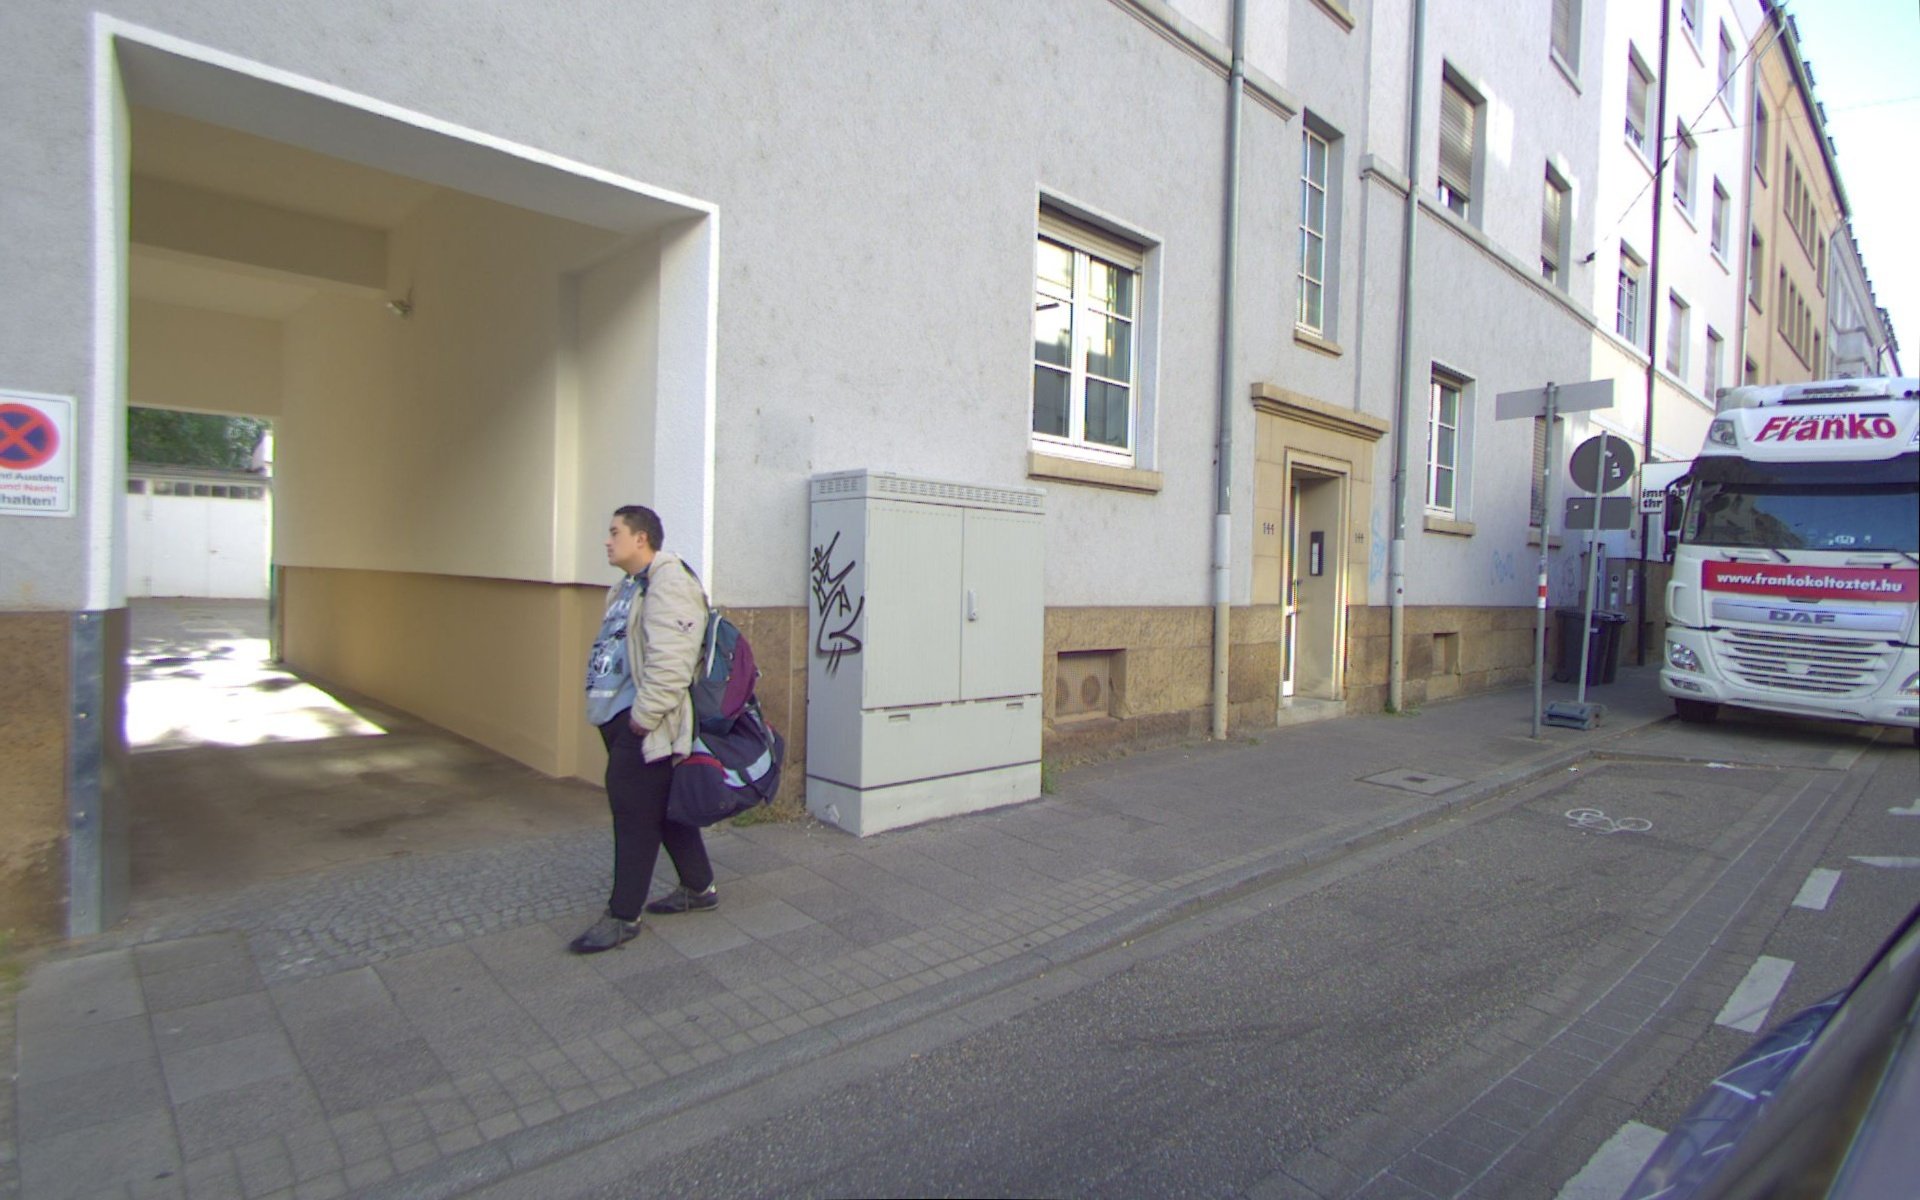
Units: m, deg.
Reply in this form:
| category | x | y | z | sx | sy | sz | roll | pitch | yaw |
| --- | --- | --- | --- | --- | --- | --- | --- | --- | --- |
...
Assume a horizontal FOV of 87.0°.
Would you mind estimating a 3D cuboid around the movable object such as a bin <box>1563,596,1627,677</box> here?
| category | x | y | z | sx | sy | sz | roll | pitch | yaw |
| --- | --- | --- | --- | --- | --- | --- | --- | --- | --- |
| movable object such as a bin | 9.151 | 0.510 | 14.584 | 0.658 | 1.118 | 0.533 | 2 | 2 | 44 |

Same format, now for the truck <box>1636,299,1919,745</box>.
| category | x | y | z | sx | sy | sz | roll | pitch | yaw |
| --- | --- | --- | --- | --- | --- | --- | --- | --- | --- |
| truck | 12.645 | -0.764 | 13.870 | 11.578 | 4.123 | 2.864 | 0 | 2 | -43 |

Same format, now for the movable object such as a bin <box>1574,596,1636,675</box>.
| category | x | y | z | sx | sy | sz | roll | pitch | yaw |
| --- | --- | --- | --- | --- | --- | --- | --- | --- | --- |
| movable object such as a bin | 9.561 | 0.504 | 14.998 | 0.658 | 1.118 | 0.533 | 2 | 2 | 44 |

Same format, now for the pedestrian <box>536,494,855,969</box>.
| category | x | y | z | sx | sy | sz | roll | pitch | yaw |
| --- | --- | --- | --- | --- | --- | --- | --- | --- | --- |
| pedestrian | -1.023 | 0.403 | 3.878 | 0.854 | 1.552 | 0.827 | 0 | 3 | -42 |
